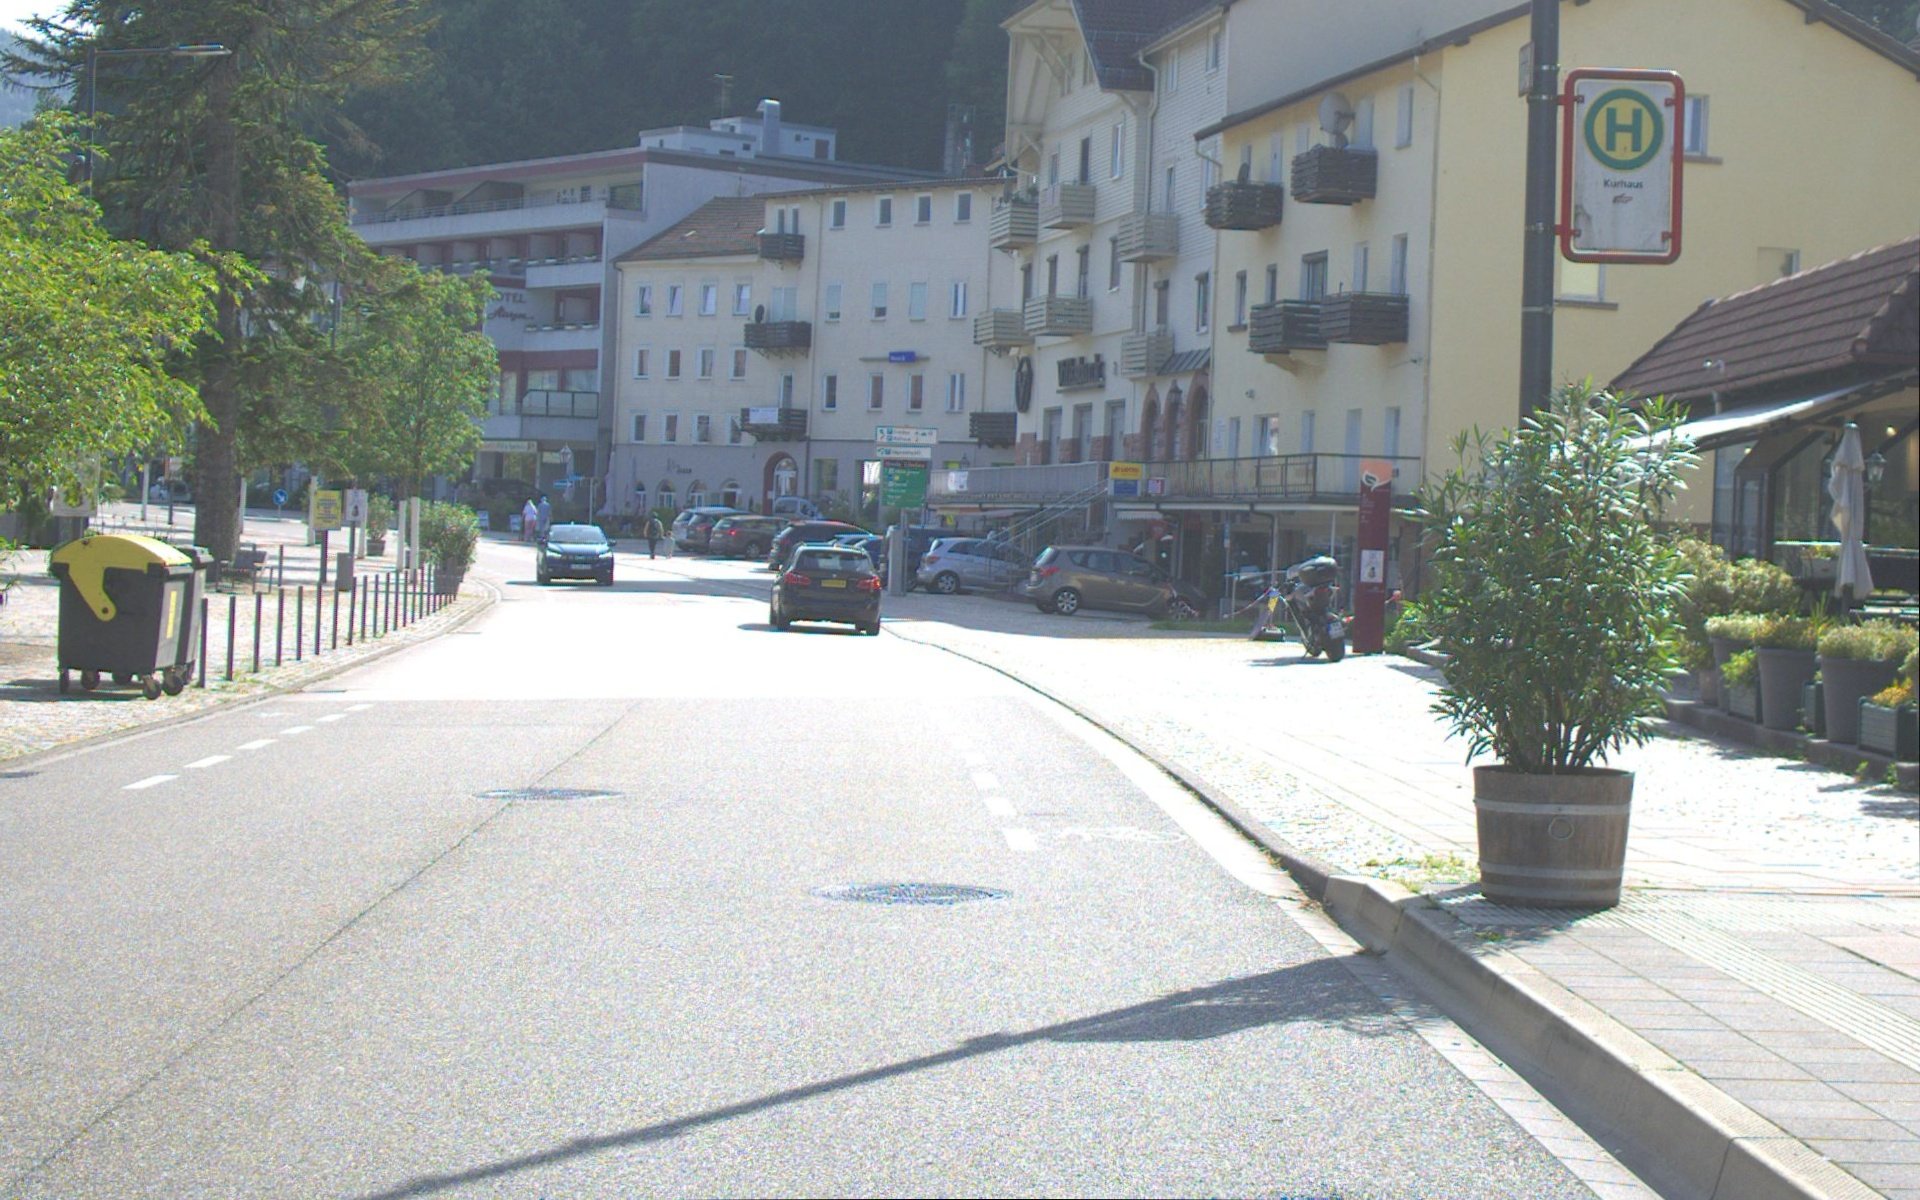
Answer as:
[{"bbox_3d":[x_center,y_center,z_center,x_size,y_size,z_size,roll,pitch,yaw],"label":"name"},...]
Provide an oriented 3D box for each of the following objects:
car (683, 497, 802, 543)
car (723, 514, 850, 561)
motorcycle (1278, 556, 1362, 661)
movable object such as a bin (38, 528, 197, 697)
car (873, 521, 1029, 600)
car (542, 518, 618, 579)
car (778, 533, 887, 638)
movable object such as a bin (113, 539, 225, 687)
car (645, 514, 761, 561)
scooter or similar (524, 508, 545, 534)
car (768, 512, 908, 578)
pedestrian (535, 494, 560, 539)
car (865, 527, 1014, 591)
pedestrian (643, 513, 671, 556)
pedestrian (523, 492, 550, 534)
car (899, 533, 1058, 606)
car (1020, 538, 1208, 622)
[{"bbox_3d":[-7.819,-2.899,123.812,3.861,1.544,1.773,-1,4,-30],"label":"car"},{"bbox_3d":[-6.002,-2.168,119.197,4.009,1.511,1.773,-1,4,-30],"label":"car"},{"bbox_3d":[4.571,0.090,43.790,0.697,1.292,2.212,0,1,-4],"label":"motorcycle"},{"bbox_3d":[-7.668,0.097,31.349,1.078,1.422,1.377,4,1,-3],"label":"movable object such as a bin"},{"bbox_3d":[-0.256,-1.091,94.962,3.908,1.798,1.858,6,0,-10],"label":"car"},{"bbox_3d":[-9.466,-1.298,85.849,1.741,1.457,4.188,1,1,-4],"label":"car"},{"bbox_3d":[-2.289,-0.288,60.876,1.727,1.569,3.754,4,3,-4],"label":"car"},{"bbox_3d":[-7.627,0.111,33.183,0.755,1.337,1.295,4,1,-3],"label":"movable object such as a bin"},{"bbox_3d":[-9.453,-2.301,126.529,3.861,1.607,1.773,-1,4,-30],"label":"car"},{"bbox_3d":[-16.654,-3.094,134.492,0.596,0.947,0.474,3,1,-32],"label":"scooter or similar"},{"bbox_3d":[-3.874,-1.738,108.732,4.083,1.660,1.773,6,1,-9],"label":"car"},{"bbox_3d":[-16.290,-3.308,135.713,0.669,1.722,0.707,3,1,-32],"label":"pedestrian"},{"bbox_3d":[-0.591,-1.181,97.694,3.908,1.456,1.736,5,1,-9],"label":"car"},{"bbox_3d":[-10.398,-2.244,118.047,0.735,1.437,0.633,0,3,-35],"label":"pedestrian"},{"bbox_3d":[-16.547,-3.416,134.338,0.757,1.588,0.628,3,1,-32],"label":"pedestrian"},{"bbox_3d":[0.483,-0.822,92.266,3.908,1.583,1.775,5,1,-10],"label":"car"},{"bbox_3d":[3.517,-0.459,78.701,3.858,1.549,1.761,5,1,-12],"label":"car"}]
